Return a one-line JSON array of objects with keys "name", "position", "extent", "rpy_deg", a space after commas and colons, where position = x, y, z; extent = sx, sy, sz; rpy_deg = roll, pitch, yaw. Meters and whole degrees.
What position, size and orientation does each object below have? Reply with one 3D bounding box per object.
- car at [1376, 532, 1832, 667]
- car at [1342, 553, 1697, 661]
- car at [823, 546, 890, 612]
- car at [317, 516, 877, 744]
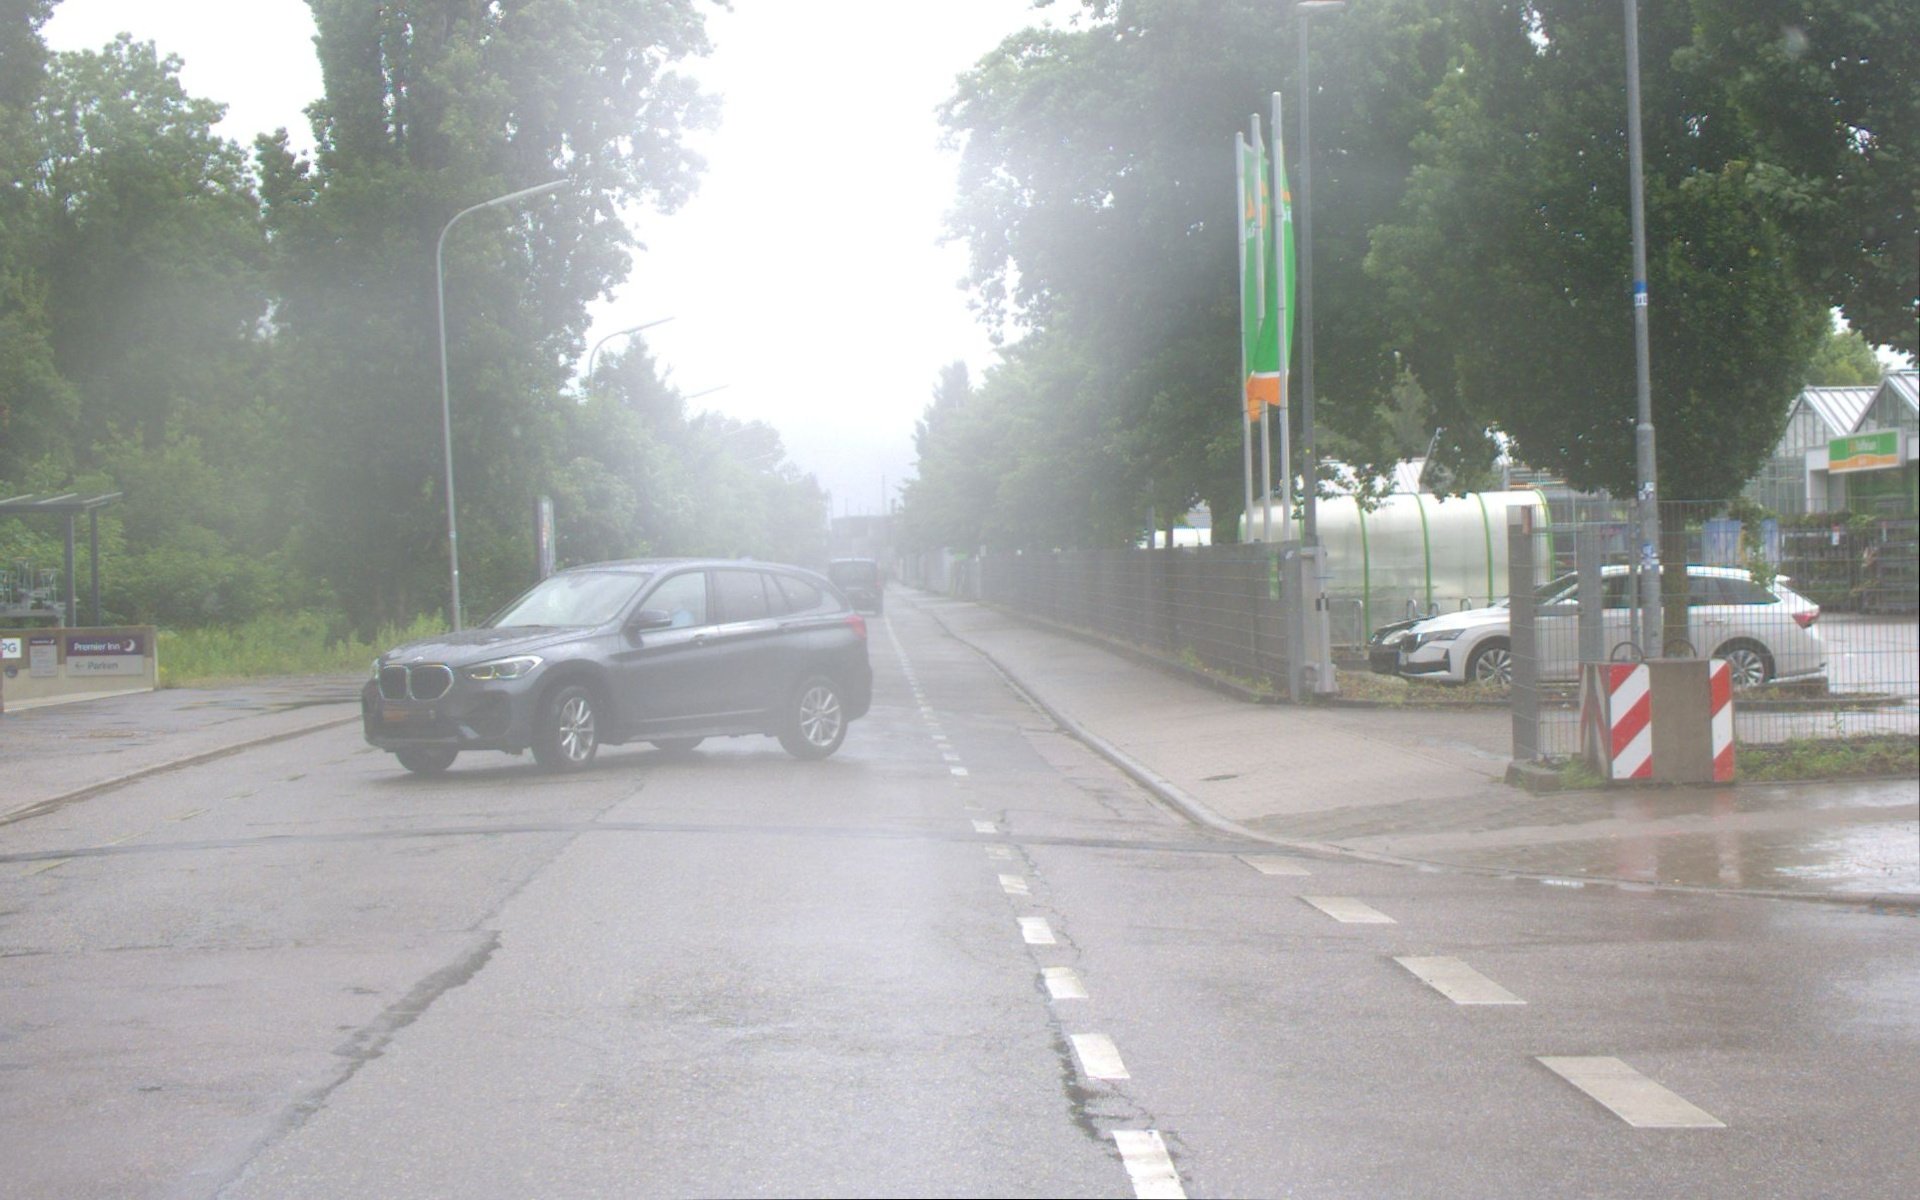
[{"name": "car", "position": [7.141, -0.007, 38.416], "extent": [4.702, 1.457, 1.891], "rpy_deg": [0, 0, -3]}, {"name": "car", "position": [6.652, 0.088, 41.086], "extent": [3.938, 1.252, 1.619], "rpy_deg": [0, 0, -3]}, {"name": "car", "position": [-3.212, -0.640, 105.986], "extent": [1.993, 1.904, 4.201], "rpy_deg": [-1, -1, -2]}, {"name": "car", "position": [-2.739, 0.191, 26.664], "extent": [1.764, 1.563, 4.139], "rpy_deg": [-1, 1, 43]}]
